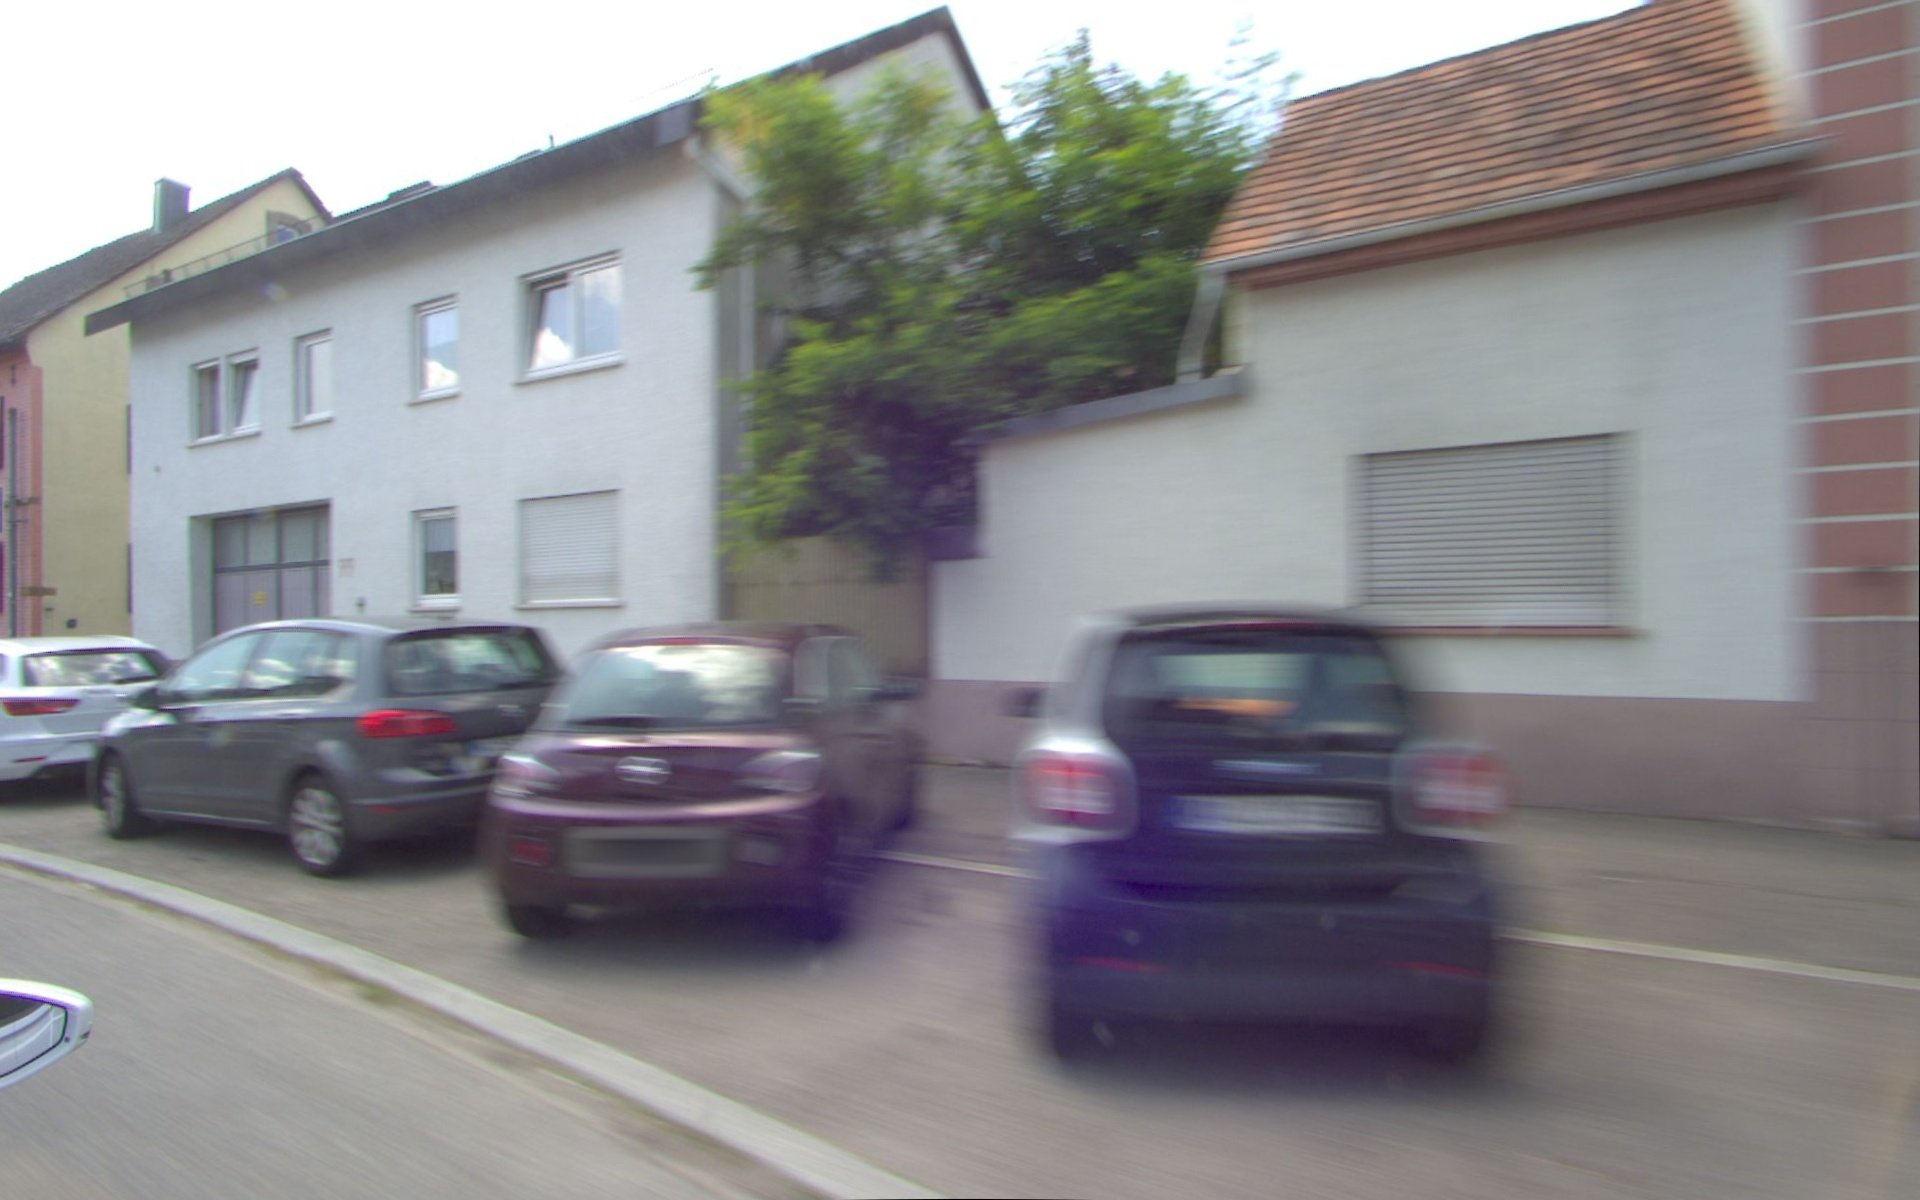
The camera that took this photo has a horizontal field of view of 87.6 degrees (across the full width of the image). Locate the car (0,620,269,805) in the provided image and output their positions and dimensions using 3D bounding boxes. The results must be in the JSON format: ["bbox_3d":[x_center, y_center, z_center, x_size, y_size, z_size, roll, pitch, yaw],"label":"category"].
[{"bbox_3d":[-9.324,0.996,10.202,4.303,1.537,1.993,-1,-2,27],"label":"car"}]

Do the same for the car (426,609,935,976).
[{"bbox_3d":[-1.255,0.832,5.869,1.791,1.524,3.237,0,-1,6],"label":"car"}]

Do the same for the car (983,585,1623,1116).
[{"bbox_3d":[1.168,0.766,4.386,1.842,1.524,2.788,0,-1,8],"label":"car"}]

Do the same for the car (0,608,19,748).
[{"bbox_3d":[-13.918,0.974,12.590,4.260,1.702,1.991,-1,-2,31],"label":"car"}]

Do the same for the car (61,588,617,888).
[{"bbox_3d":[-4.601,0.813,7.276,4.208,1.645,1.661,-1,-2,30],"label":"car"}]
